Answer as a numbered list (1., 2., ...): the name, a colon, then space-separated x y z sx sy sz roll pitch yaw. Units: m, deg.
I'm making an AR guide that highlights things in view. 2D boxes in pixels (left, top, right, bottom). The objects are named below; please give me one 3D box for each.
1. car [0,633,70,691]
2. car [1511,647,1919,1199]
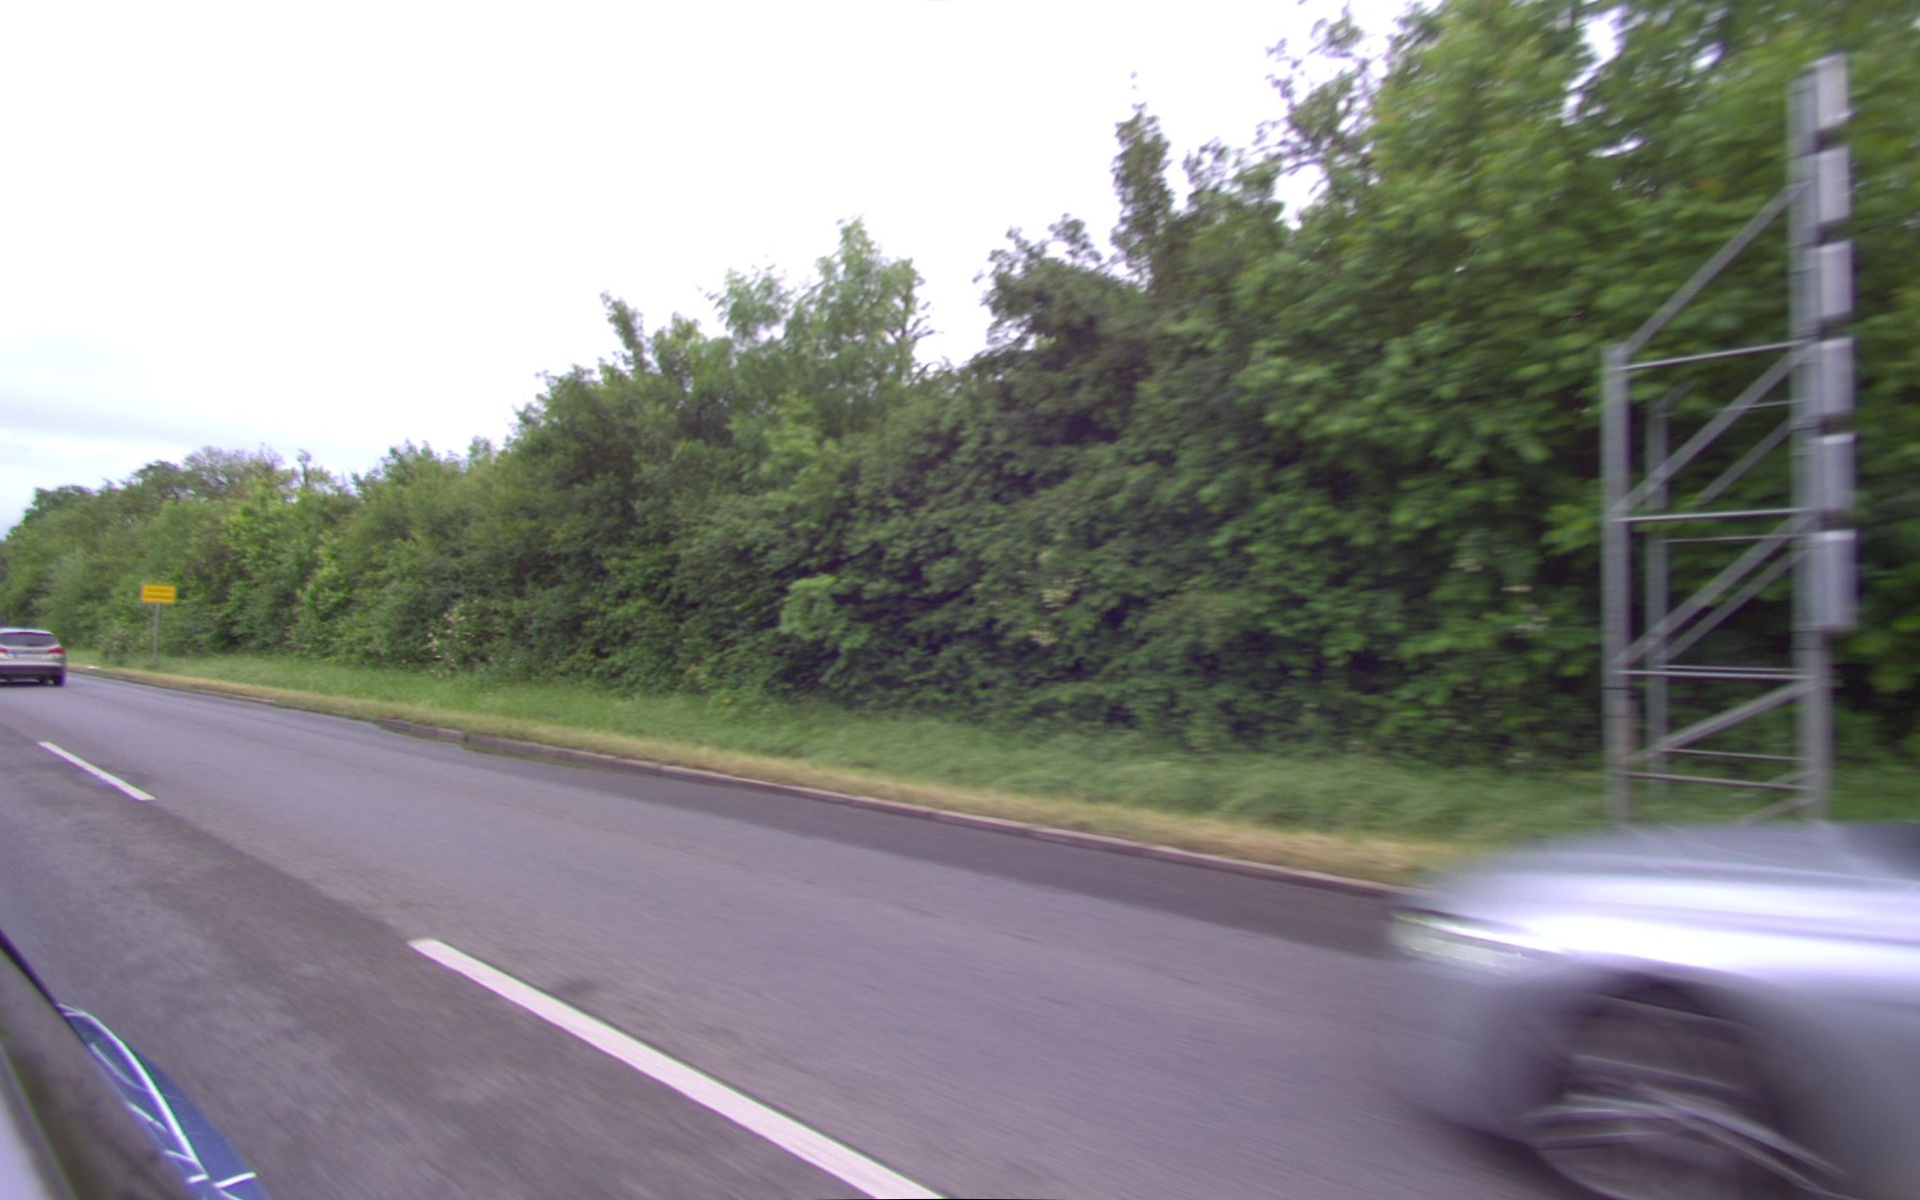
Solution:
1. car: -24.990 1.600 26.634 4.318 1.431 1.806 -2 -4 41
2. car: 3.667 0.809 1.860 4.378 1.365 1.871 -1 -2 40
